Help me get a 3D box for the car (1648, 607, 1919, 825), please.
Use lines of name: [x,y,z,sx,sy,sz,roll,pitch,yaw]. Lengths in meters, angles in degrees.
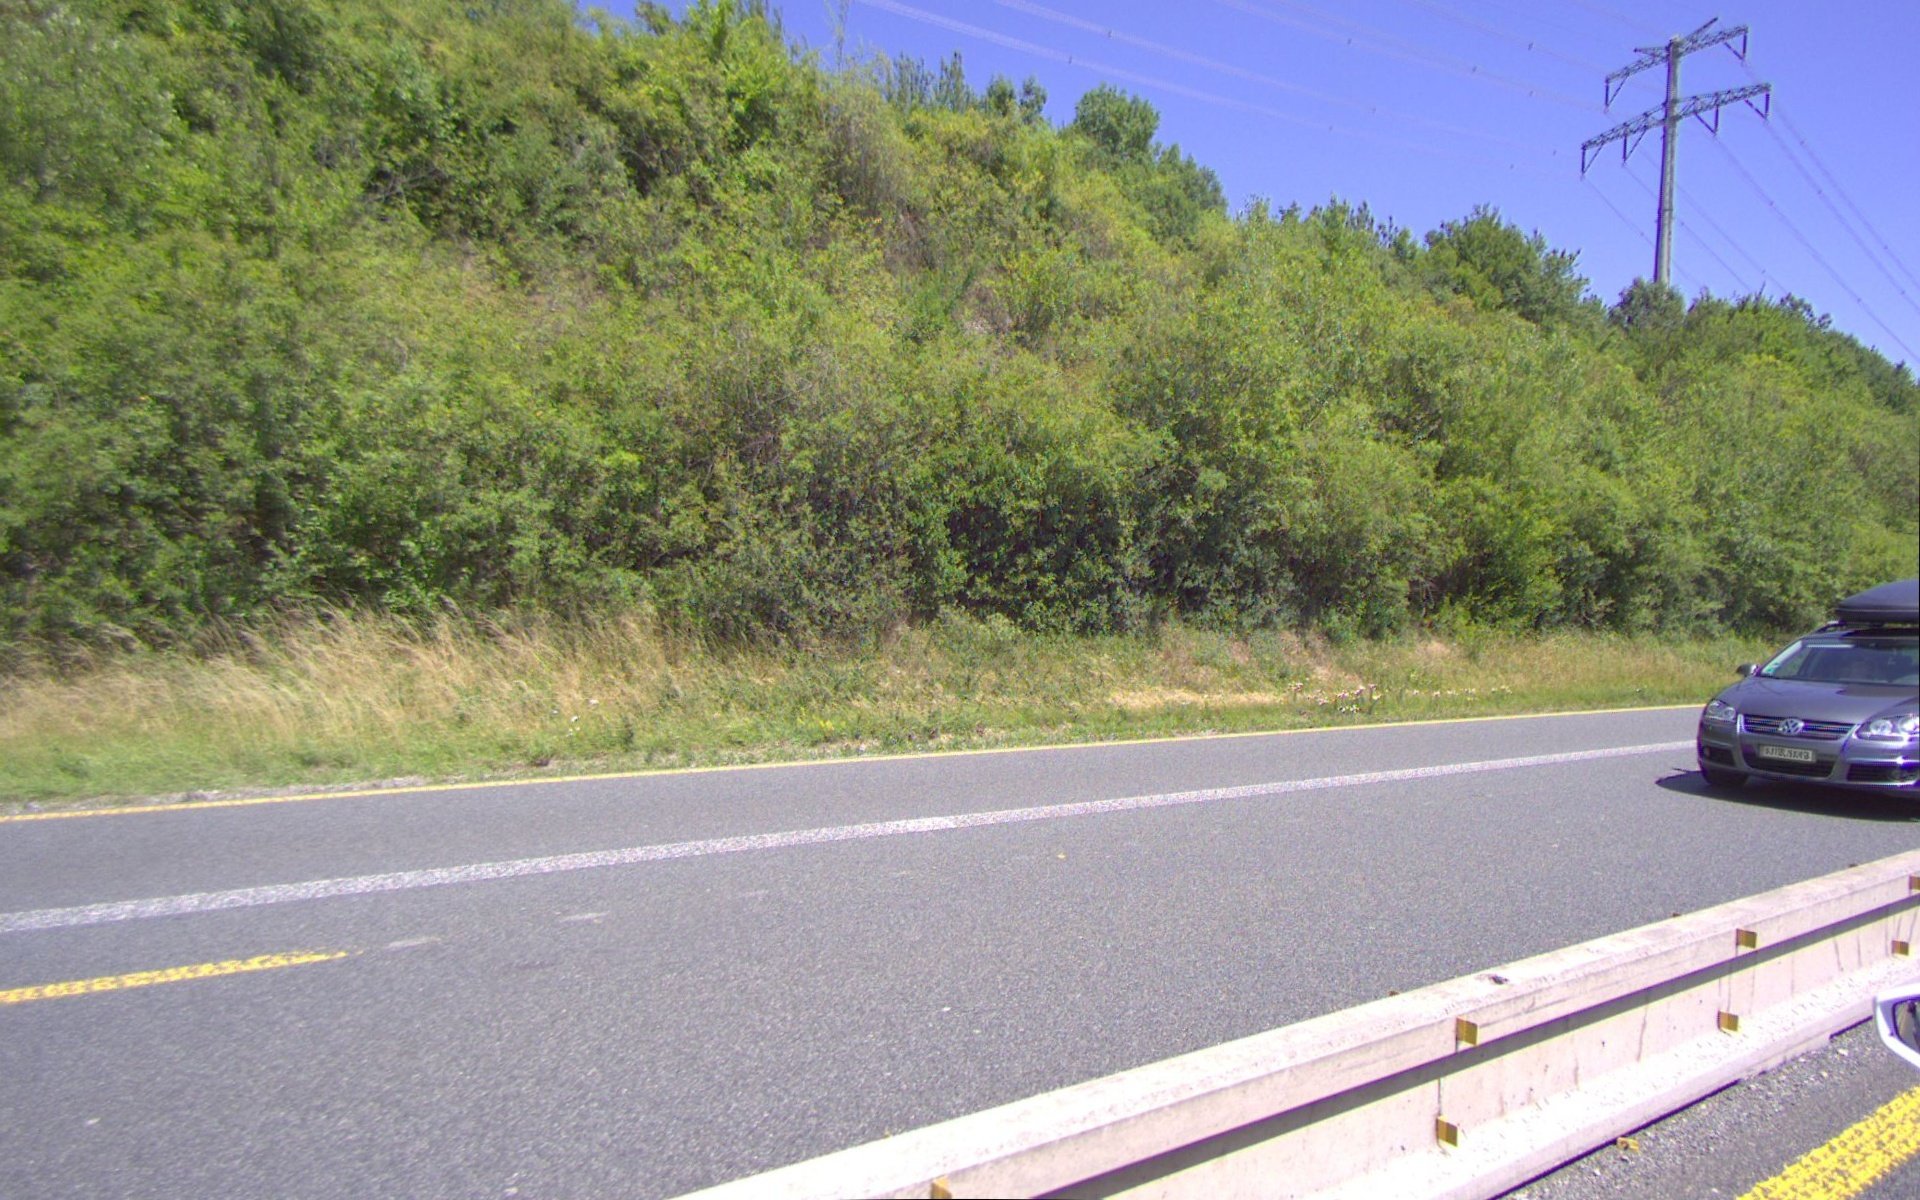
car: [8.304,0.889,9.008,4.226,1.536,1.890,2,0,-30]
